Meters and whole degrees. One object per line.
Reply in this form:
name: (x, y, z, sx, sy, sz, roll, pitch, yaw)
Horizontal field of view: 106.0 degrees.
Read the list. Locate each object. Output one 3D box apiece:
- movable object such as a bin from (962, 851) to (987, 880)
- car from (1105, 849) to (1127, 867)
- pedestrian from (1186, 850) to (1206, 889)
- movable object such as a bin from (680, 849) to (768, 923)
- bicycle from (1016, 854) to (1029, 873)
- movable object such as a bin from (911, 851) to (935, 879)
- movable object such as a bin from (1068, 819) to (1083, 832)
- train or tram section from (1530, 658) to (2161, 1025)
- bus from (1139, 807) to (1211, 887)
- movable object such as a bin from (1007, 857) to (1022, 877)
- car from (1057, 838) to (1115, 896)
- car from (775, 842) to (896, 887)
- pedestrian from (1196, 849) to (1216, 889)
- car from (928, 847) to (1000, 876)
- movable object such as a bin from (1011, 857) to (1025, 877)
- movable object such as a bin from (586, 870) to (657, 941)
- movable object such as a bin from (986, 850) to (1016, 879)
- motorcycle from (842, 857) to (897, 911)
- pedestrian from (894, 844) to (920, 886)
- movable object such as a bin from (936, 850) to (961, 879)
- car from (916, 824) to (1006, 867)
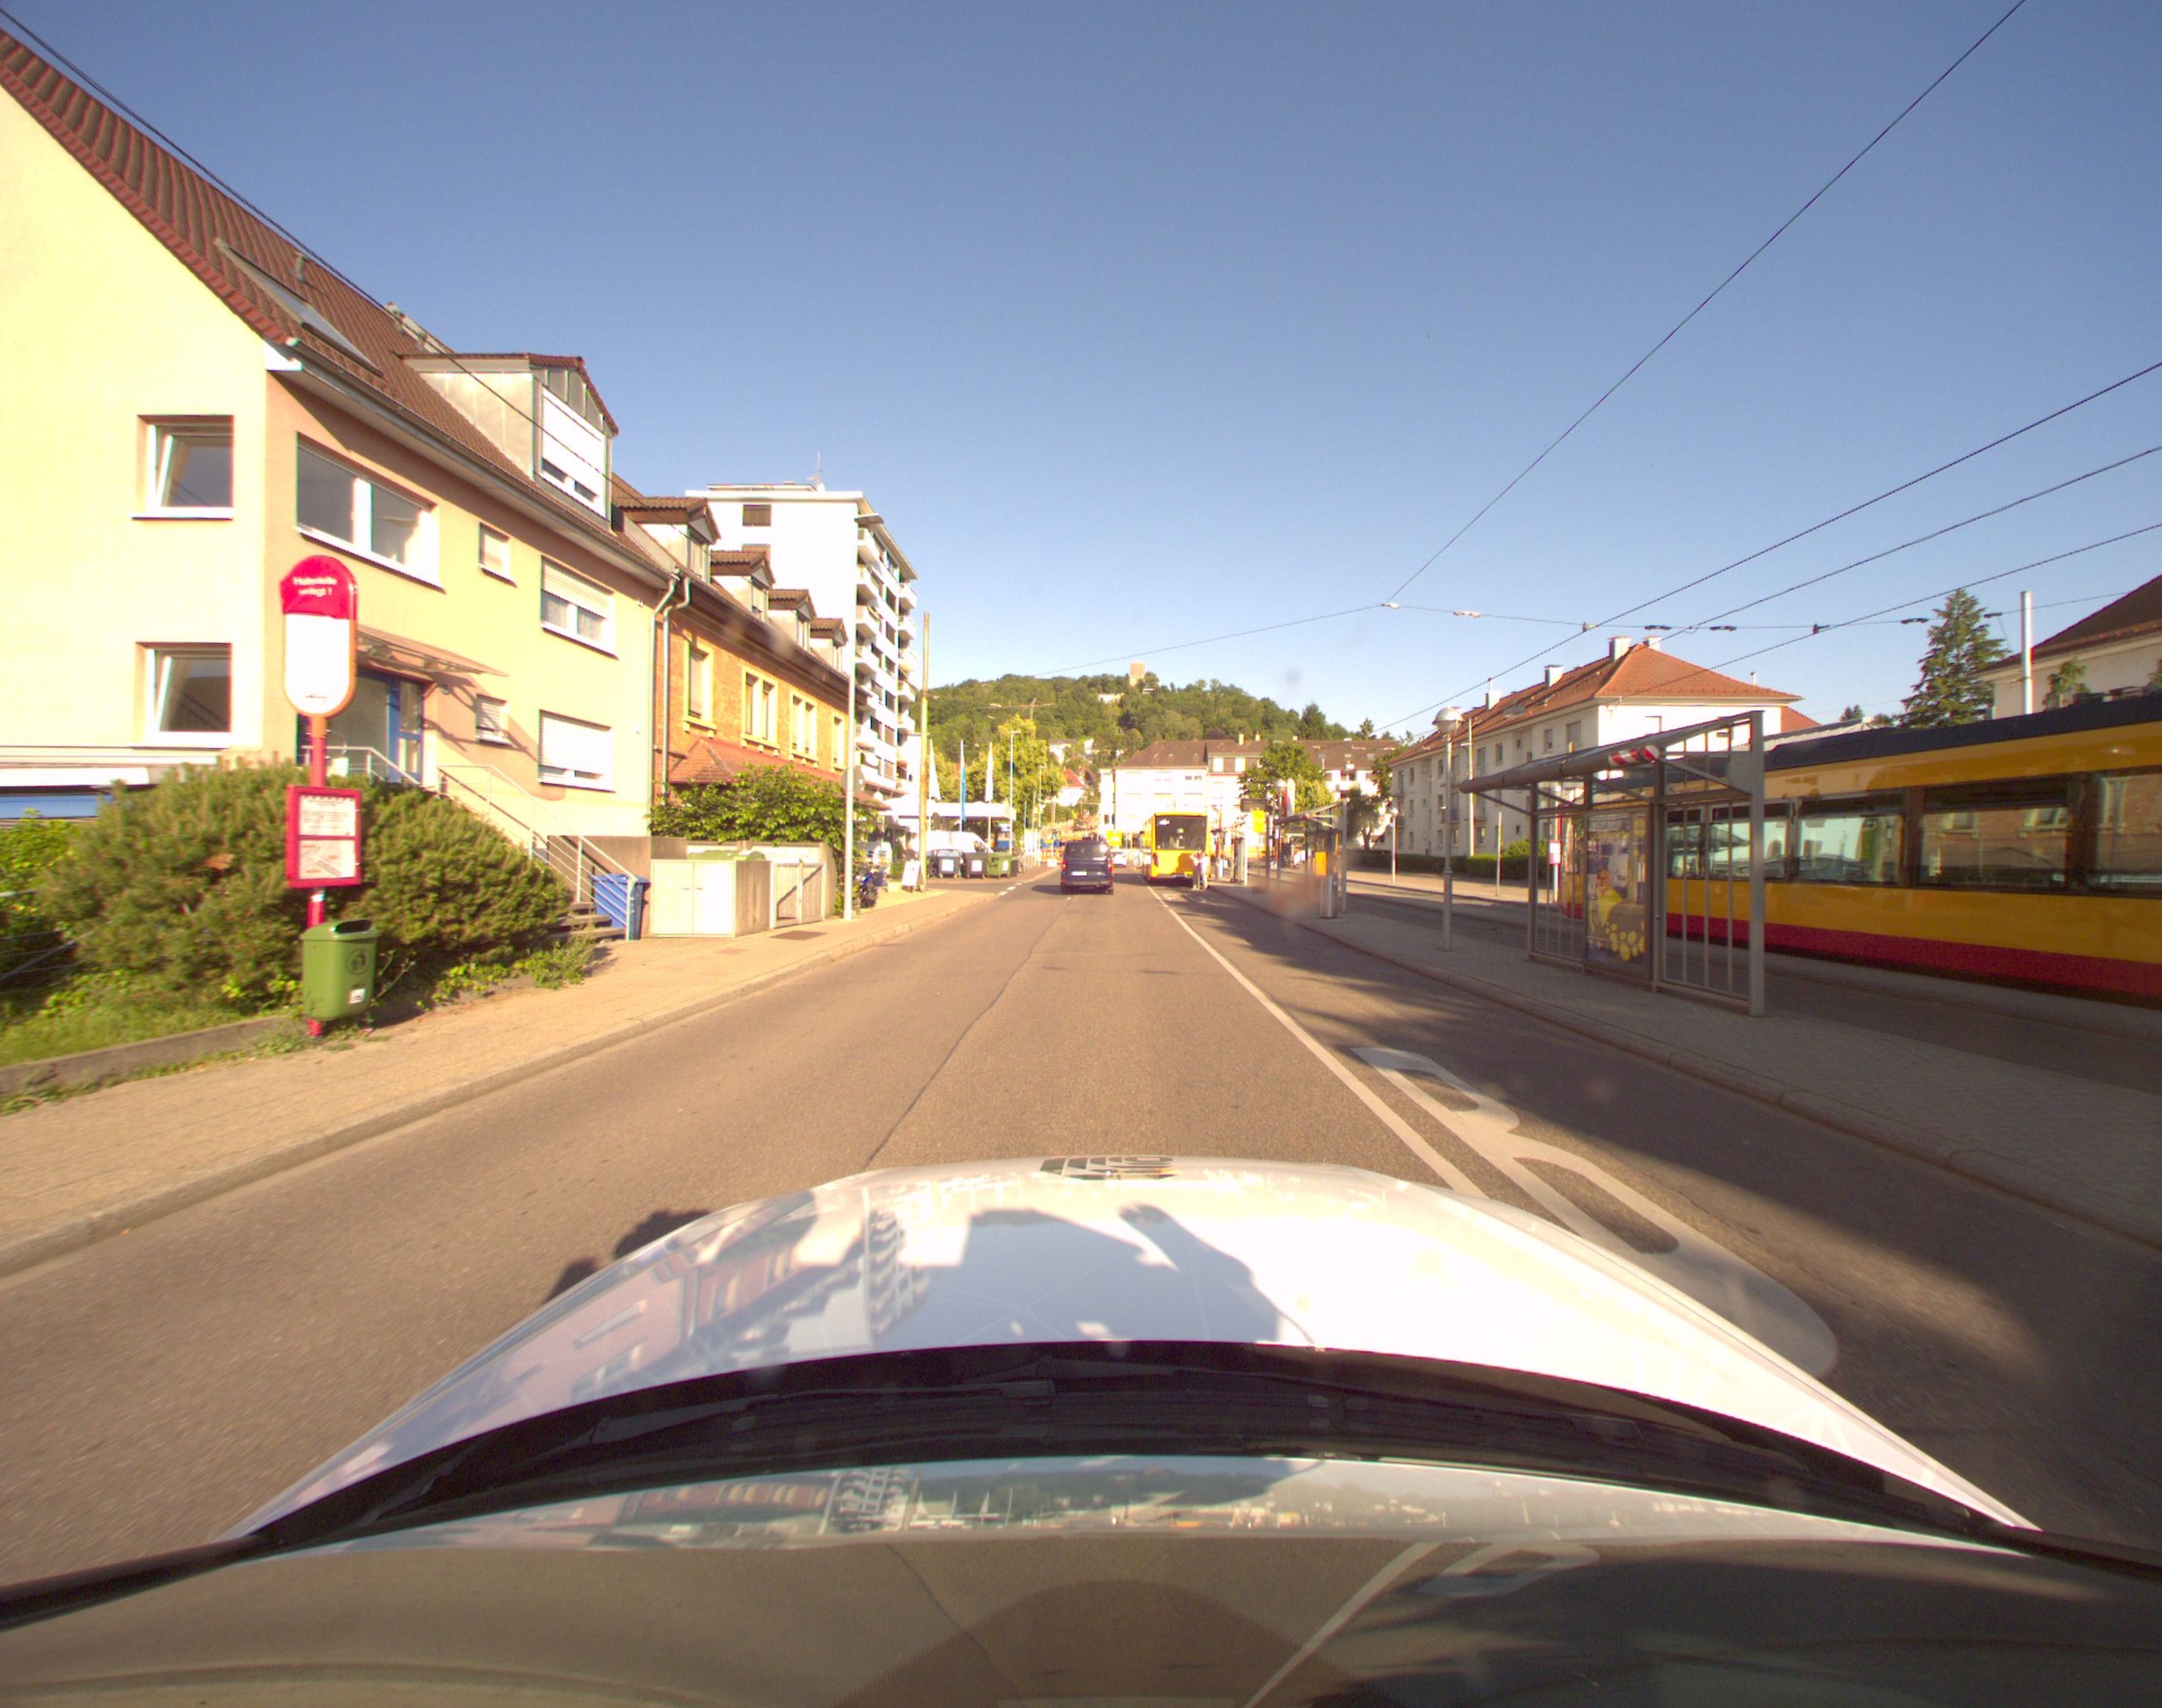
movable object such as a bin: (-5.756, 0.623, 44.049, 1.224, 1.482, 0.698, -1, 4, -27)
car: (2.872, 0.325, 66.277, 1.787, 1.409, 4.003, 0, 0, 3)
pedestrian: (4.746, 0.625, 33.572, 0.548, 1.613, 0.629, 0, 0, -35)
movable object such as a bin: (-7.076, 0.614, 16.206, 1.304, 1.430, 0.991, 0, 0, -2)
bicycle: (-3.709, 0.598, 51.850, 0.722, 1.178, 1.777, 0, 0, -7)
movable object such as a bin: (-8.504, 0.578, 43.785, 1.175, 1.482, 0.704, 0, 3, -3)
movable object such as a bin: (-1.185, -6.140, 177.375, 2.175, 2.690, 4.015, 0, 1, 13)
train or tram section: (12.036, -0.086, 11.632, 2.946, 3.534, 15.977, 0, -1, 2)
bus: (4.451, -0.371, 40.882, 2.678, 3.416, 12.026, 0, 1, 2)
movable object such as a bin: (-3.760, 0.745, 46.128, 0.655, 1.062, 0.587, 3, 2, 14)
car: (0.277, 0.455, 31.581, 2.054, 2.013, 5.003, -1, 0, 2)
car: (-10.570, 0.440, 35.354, 4.600, 1.933, 2.000, 0, 0, 0)
pedestrian: (5.093, 0.618, 33.198, 0.548, 1.613, 0.544, 0, 0, -35)
car: (-6.745, 0.428, 46.920, 3.990, 1.568, 1.766, 1, 1, -13)
movable object such as a bin: (-3.620, 0.756, 46.777, 0.635, 1.069, 0.582, 1, 3, 14)
movable object such as a bin: (-7.208, 0.800, 12.792, 0.755, 1.066, 0.602, 0, 0, 2)
movable object such as a bin: (-4.427, 0.587, 45.168, 1.045, 1.482, 1.321, 2, 4, 30)
motorcycle: (-5.419, 0.736, 21.018, 0.836, 1.282, 2.231, 1, 0, -1)
pedestrian: (-7.750, 0.477, 36.275, 0.811, 1.867, 0.799, 0, 0, 19)
movable object such as a bin: (-7.126, 0.568, 43.843, 1.215, 1.482, 0.704, 0, 3, -3)
car: (-7.322, -0.481, 49.595, 5.072, 2.469, 2.095, 1, 0, -20)
